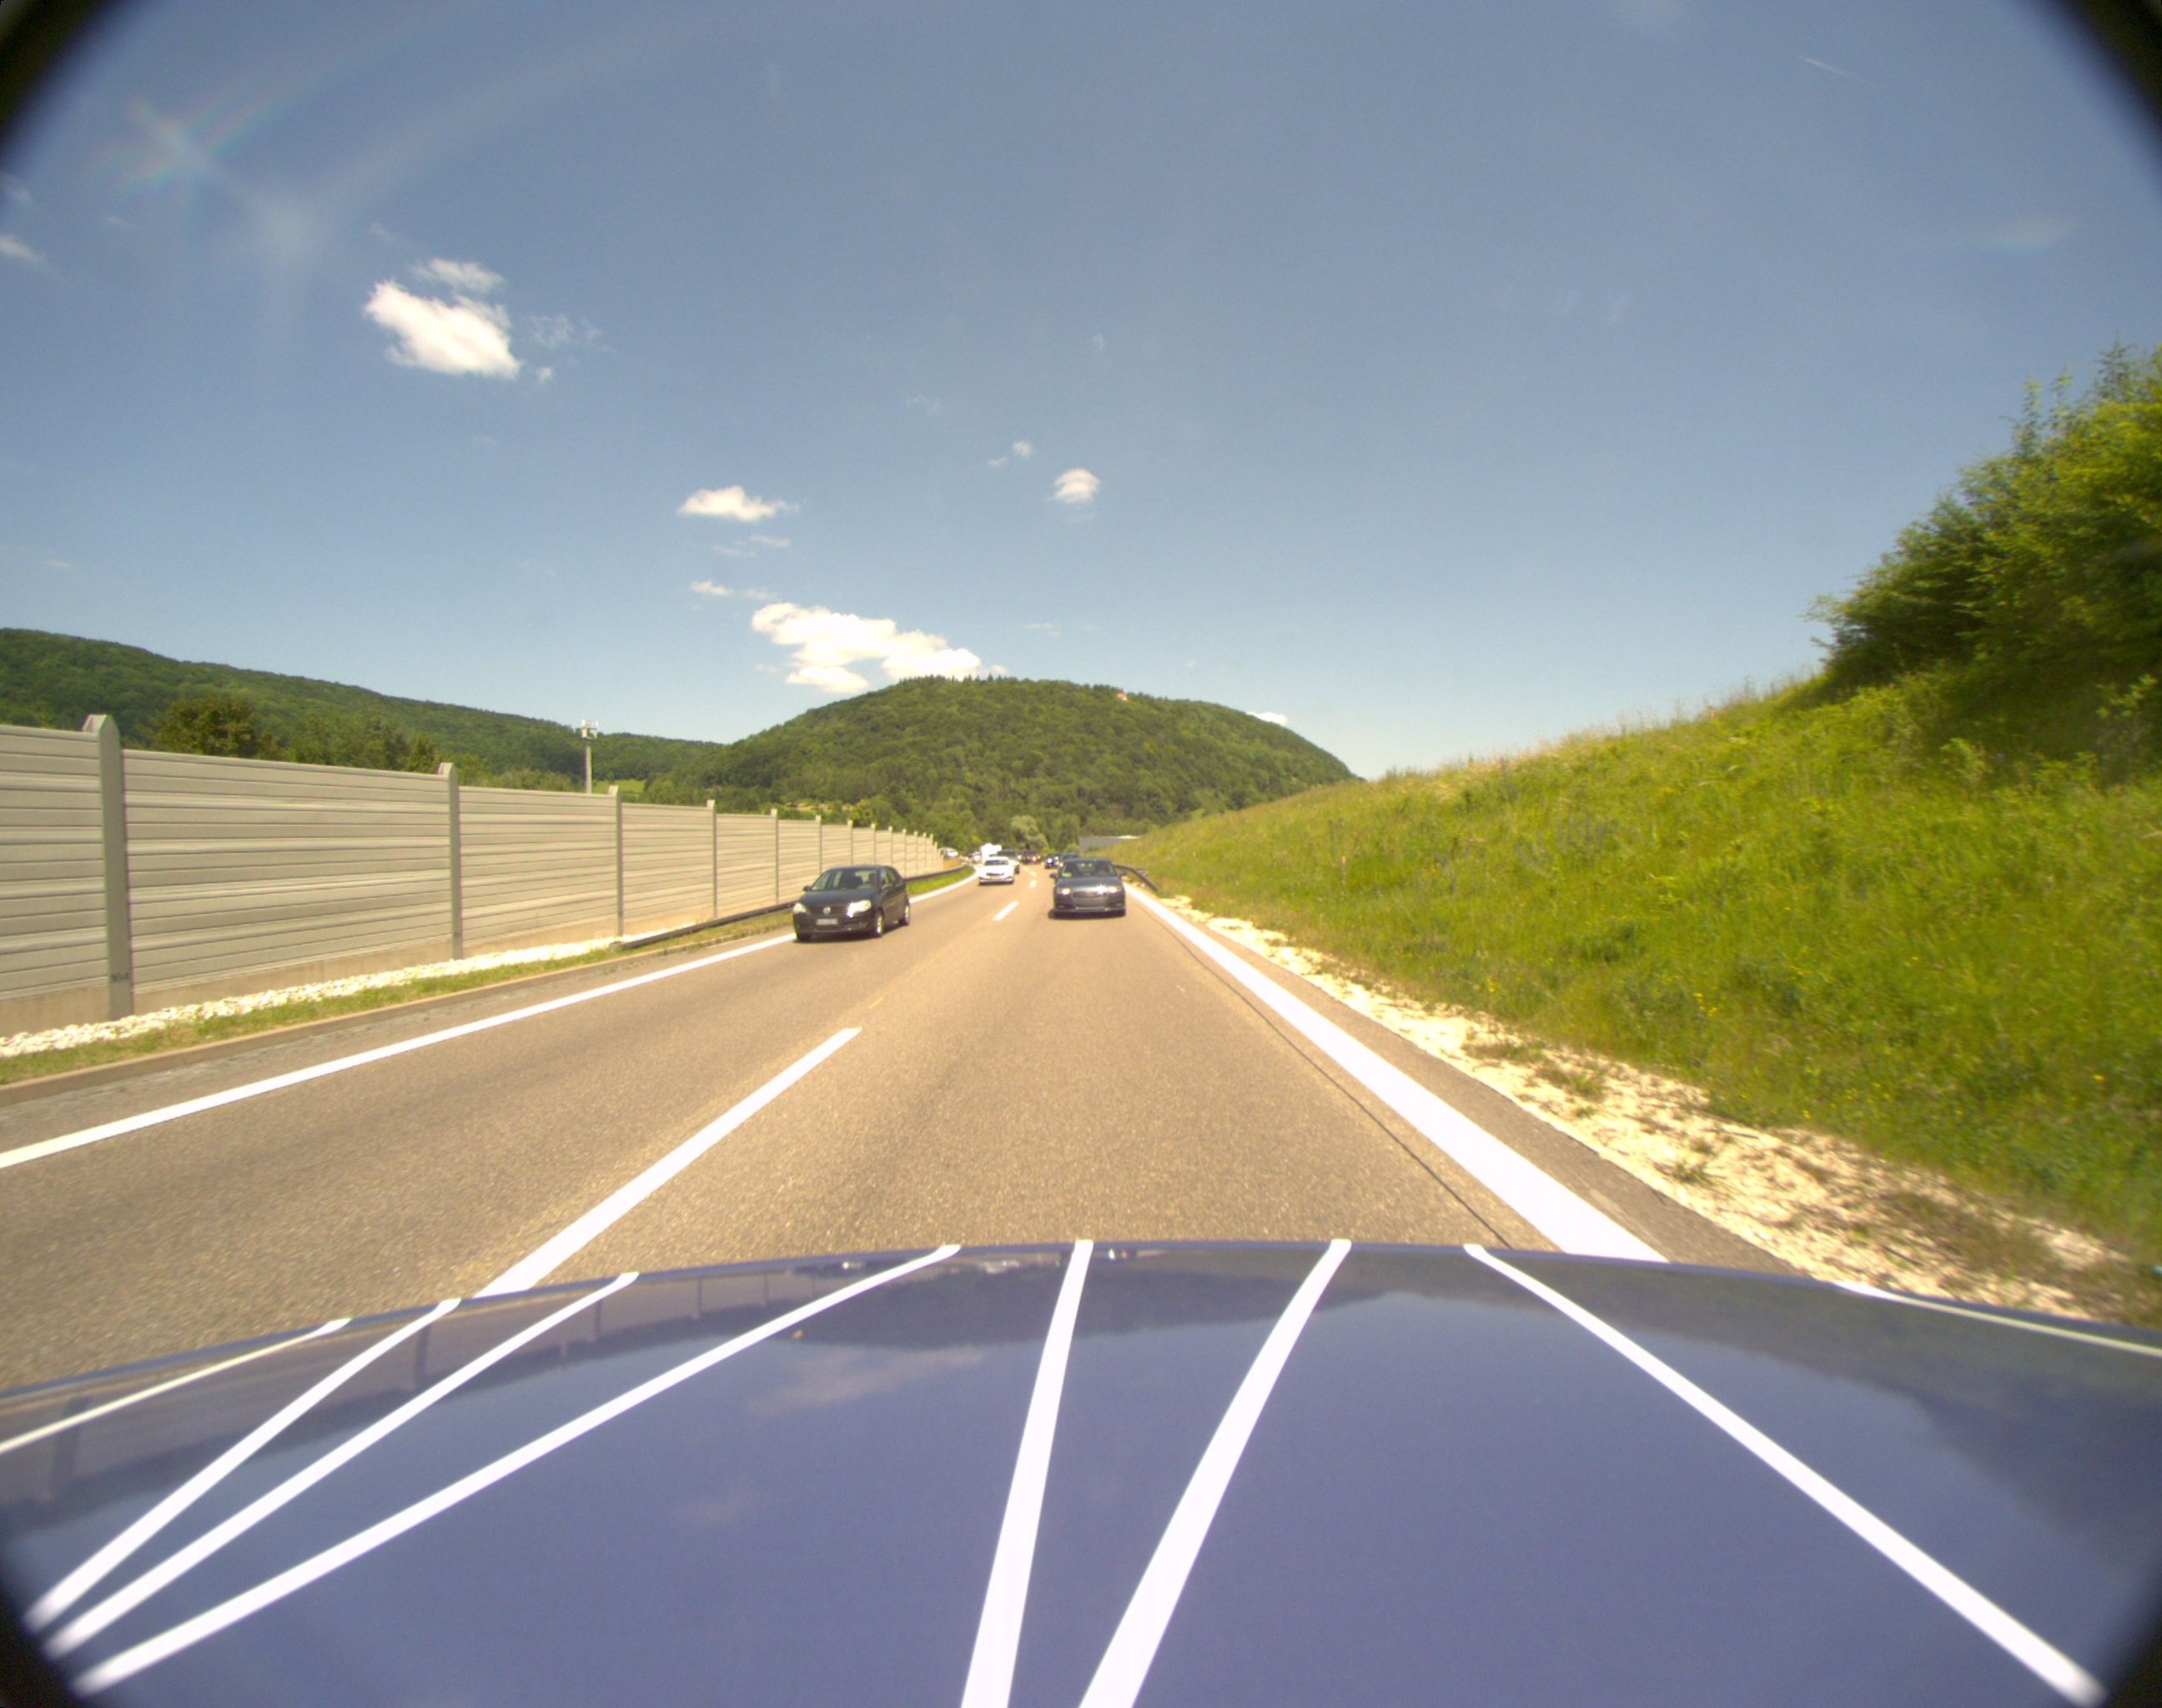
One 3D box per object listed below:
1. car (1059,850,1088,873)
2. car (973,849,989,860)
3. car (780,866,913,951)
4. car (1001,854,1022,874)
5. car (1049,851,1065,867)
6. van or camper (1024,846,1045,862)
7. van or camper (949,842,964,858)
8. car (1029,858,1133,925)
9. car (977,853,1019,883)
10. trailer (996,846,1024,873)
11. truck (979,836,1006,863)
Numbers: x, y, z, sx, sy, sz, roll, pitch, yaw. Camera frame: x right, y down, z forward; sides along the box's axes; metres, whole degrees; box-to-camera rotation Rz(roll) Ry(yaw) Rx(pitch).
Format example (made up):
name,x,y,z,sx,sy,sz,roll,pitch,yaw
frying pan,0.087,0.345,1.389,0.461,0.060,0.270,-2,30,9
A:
name,x,y,z,sx,sy,sz,roll,pitch,yaw
car,-0.481,0.476,52.149,1.695,1.422,3.463,-3,1,3
car,-15.324,0.023,116.605,1.701,1.524,3.674,-5,1,-19
car,-4.756,1.040,15.994,1.696,1.414,3.837,-2,1,-2
car,-5.167,0.697,56.587,1.489,1.375,3.736,-1,1,-4
car,-2.168,0.455,69.439,1.286,1.305,3.453,-3,0,0
van or camper,-5.677,0.031,92.550,1.819,1.856,3.608,-3,1,-14
van or camper,-25.481,-0.780,154.907,1.912,3.010,4.866,-3,1,-21
car,-0.128,0.835,19.007,1.757,1.382,4.051,-3,1,-11
car,-4.425,0.736,40.978,1.907,1.422,3.721,-2,0,-1
trailer,-5.676,0.409,60.345,2.000,1.958,3.997,-3,1,-7
truck,-11.116,-0.601,94.936,2.604,3.090,6.851,-5,1,-10
